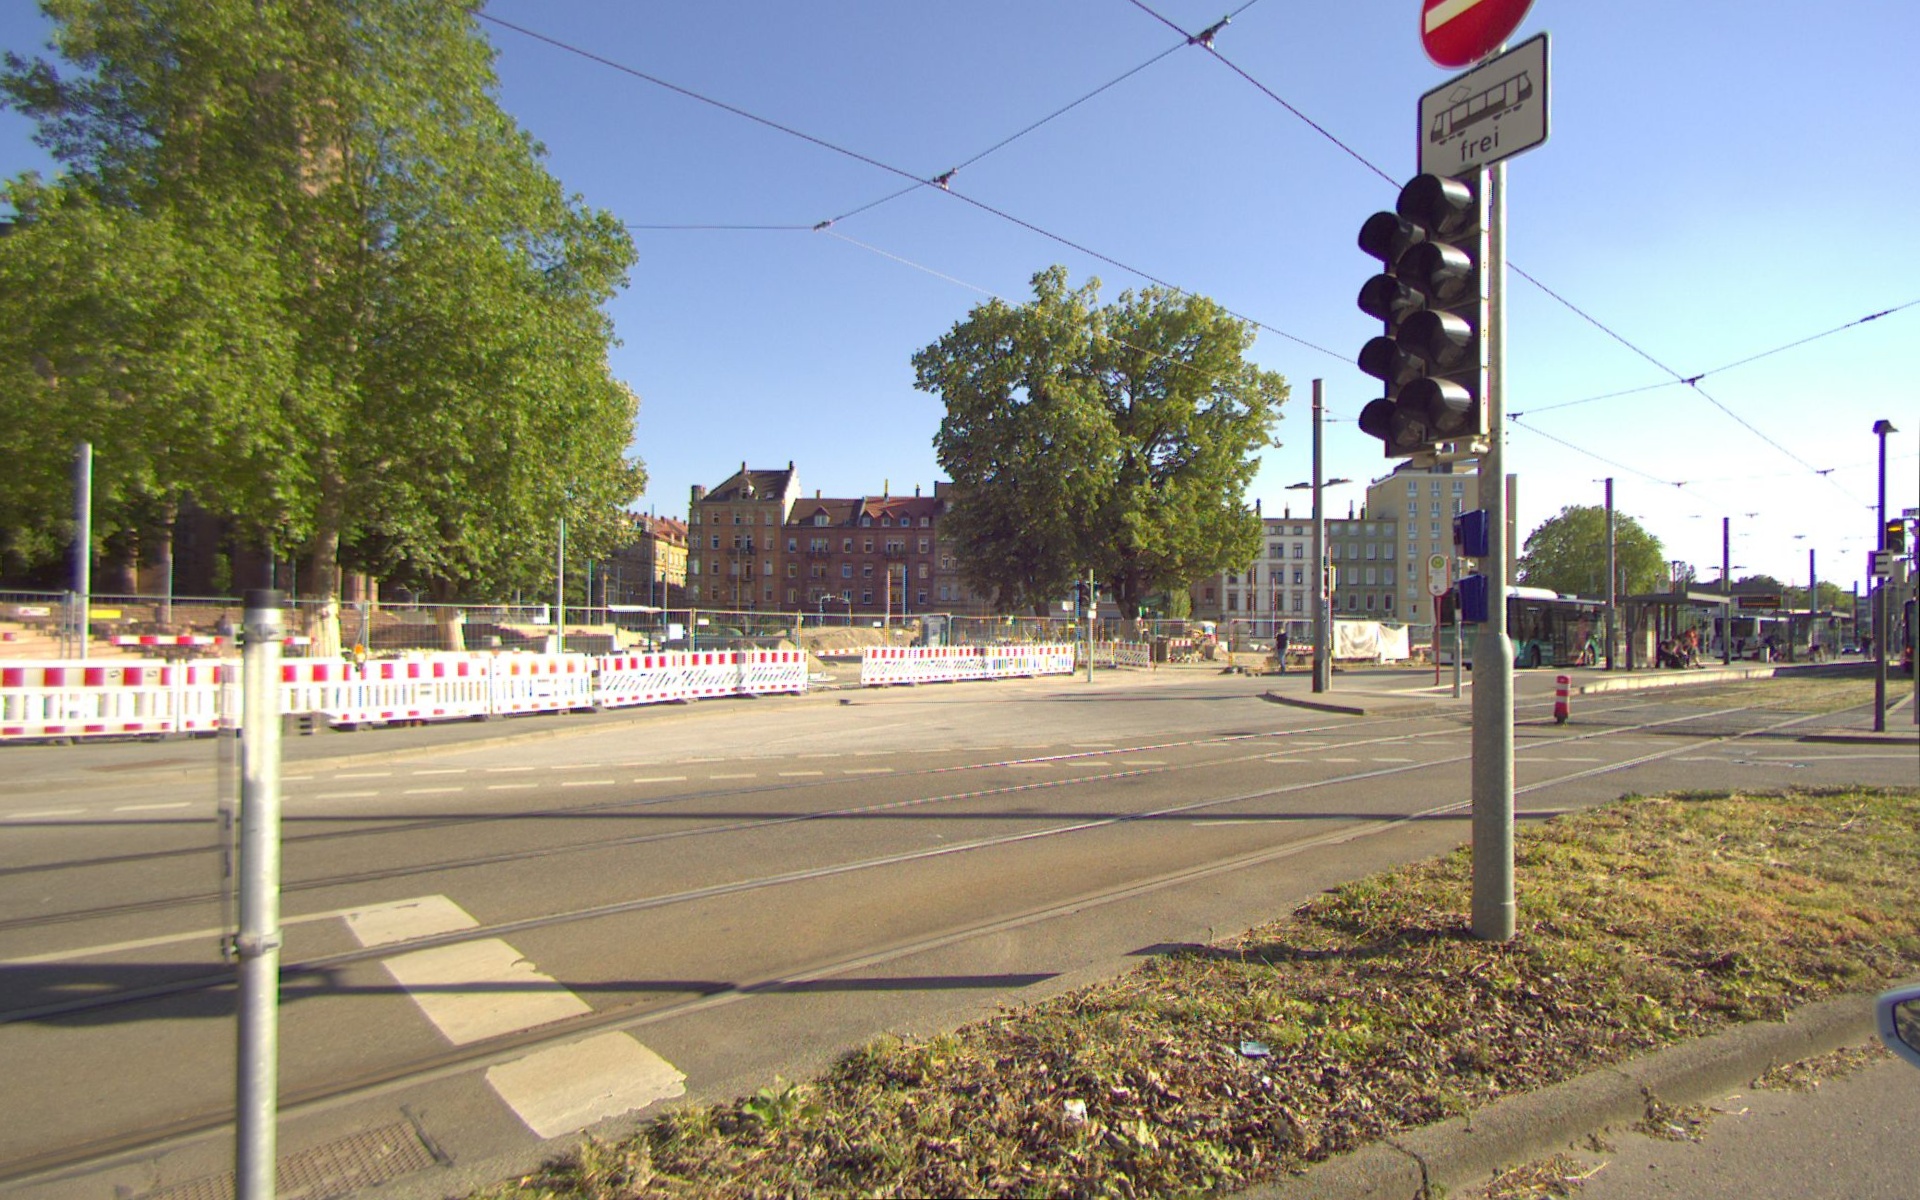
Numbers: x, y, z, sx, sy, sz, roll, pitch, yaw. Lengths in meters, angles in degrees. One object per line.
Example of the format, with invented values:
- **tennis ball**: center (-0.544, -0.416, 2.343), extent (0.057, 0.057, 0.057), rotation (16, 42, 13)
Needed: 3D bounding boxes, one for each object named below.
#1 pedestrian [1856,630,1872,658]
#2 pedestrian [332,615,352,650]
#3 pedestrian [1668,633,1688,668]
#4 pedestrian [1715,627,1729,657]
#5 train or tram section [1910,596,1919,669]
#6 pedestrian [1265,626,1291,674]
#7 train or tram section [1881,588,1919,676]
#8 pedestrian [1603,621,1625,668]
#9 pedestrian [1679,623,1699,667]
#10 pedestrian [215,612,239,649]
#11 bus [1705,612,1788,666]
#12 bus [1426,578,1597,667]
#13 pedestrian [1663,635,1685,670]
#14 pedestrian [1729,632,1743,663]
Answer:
- **pedestrian**: center (58.369, 2.831, 64.856), extent (0.629, 1.772, 0.570), rotation (-1, -2, 34)
- **pedestrian**: center (-30.404, 1.592, 49.422), extent (0.751, 1.669, 0.671), rotation (1, -1, -26)
- **pedestrian**: center (28.178, 1.987, 39.405), extent (0.564, 1.363, 0.636), rotation (-1, -2, 43)
- **pedestrian**: center (45.326, 2.471, 59.772), extent (0.629, 1.772, 0.570), rotation (-1, -2, 34)
- **train or tram section**: center (53.888, 1.823, 53.777), extent (12.100, 3.644, 2.987), rotation (2, 0, -40)
- **pedestrian**: center (11.733, 1.845, 37.025), extent (0.699, 1.719, 0.899), rotation (-1, -4, 33)
- **train or tram section**: center (44.751, 1.496, 45.824), extent (12.108, 3.644, 2.855), rotation (2, 0, -42)
- **pedestrian**: center (25.033, 1.701, 38.475), extent (0.554, 1.772, 0.534), rotation (2, -2, -35)
- **pedestrian**: center (29.557, 1.815, 40.725), extent (0.564, 1.772, 0.636), rotation (-1, -2, 43)
- **pedestrian**: center (-33.410, 1.402, 45.773), extent (0.665, 1.669, 0.635), rotation (1, -1, -18)
- **bus**: center (53.957, 2.636, 68.746), extent (13.376, 3.317, 2.694), rotation (2, 0, -44)
- **bus**: center (21.996, 0.903, 39.747), extent (9.564, 3.177, 2.631), rotation (2, 0, -40)
- **pedestrian**: center (27.669, 2.022, 38.929), extent (0.609, 1.358, 0.438), rotation (-1, -2, 44)
- **pedestrian**: center (44.592, 2.726, 57.736), extent (0.564, 1.772, 0.636), rotation (-1, -2, 41)
